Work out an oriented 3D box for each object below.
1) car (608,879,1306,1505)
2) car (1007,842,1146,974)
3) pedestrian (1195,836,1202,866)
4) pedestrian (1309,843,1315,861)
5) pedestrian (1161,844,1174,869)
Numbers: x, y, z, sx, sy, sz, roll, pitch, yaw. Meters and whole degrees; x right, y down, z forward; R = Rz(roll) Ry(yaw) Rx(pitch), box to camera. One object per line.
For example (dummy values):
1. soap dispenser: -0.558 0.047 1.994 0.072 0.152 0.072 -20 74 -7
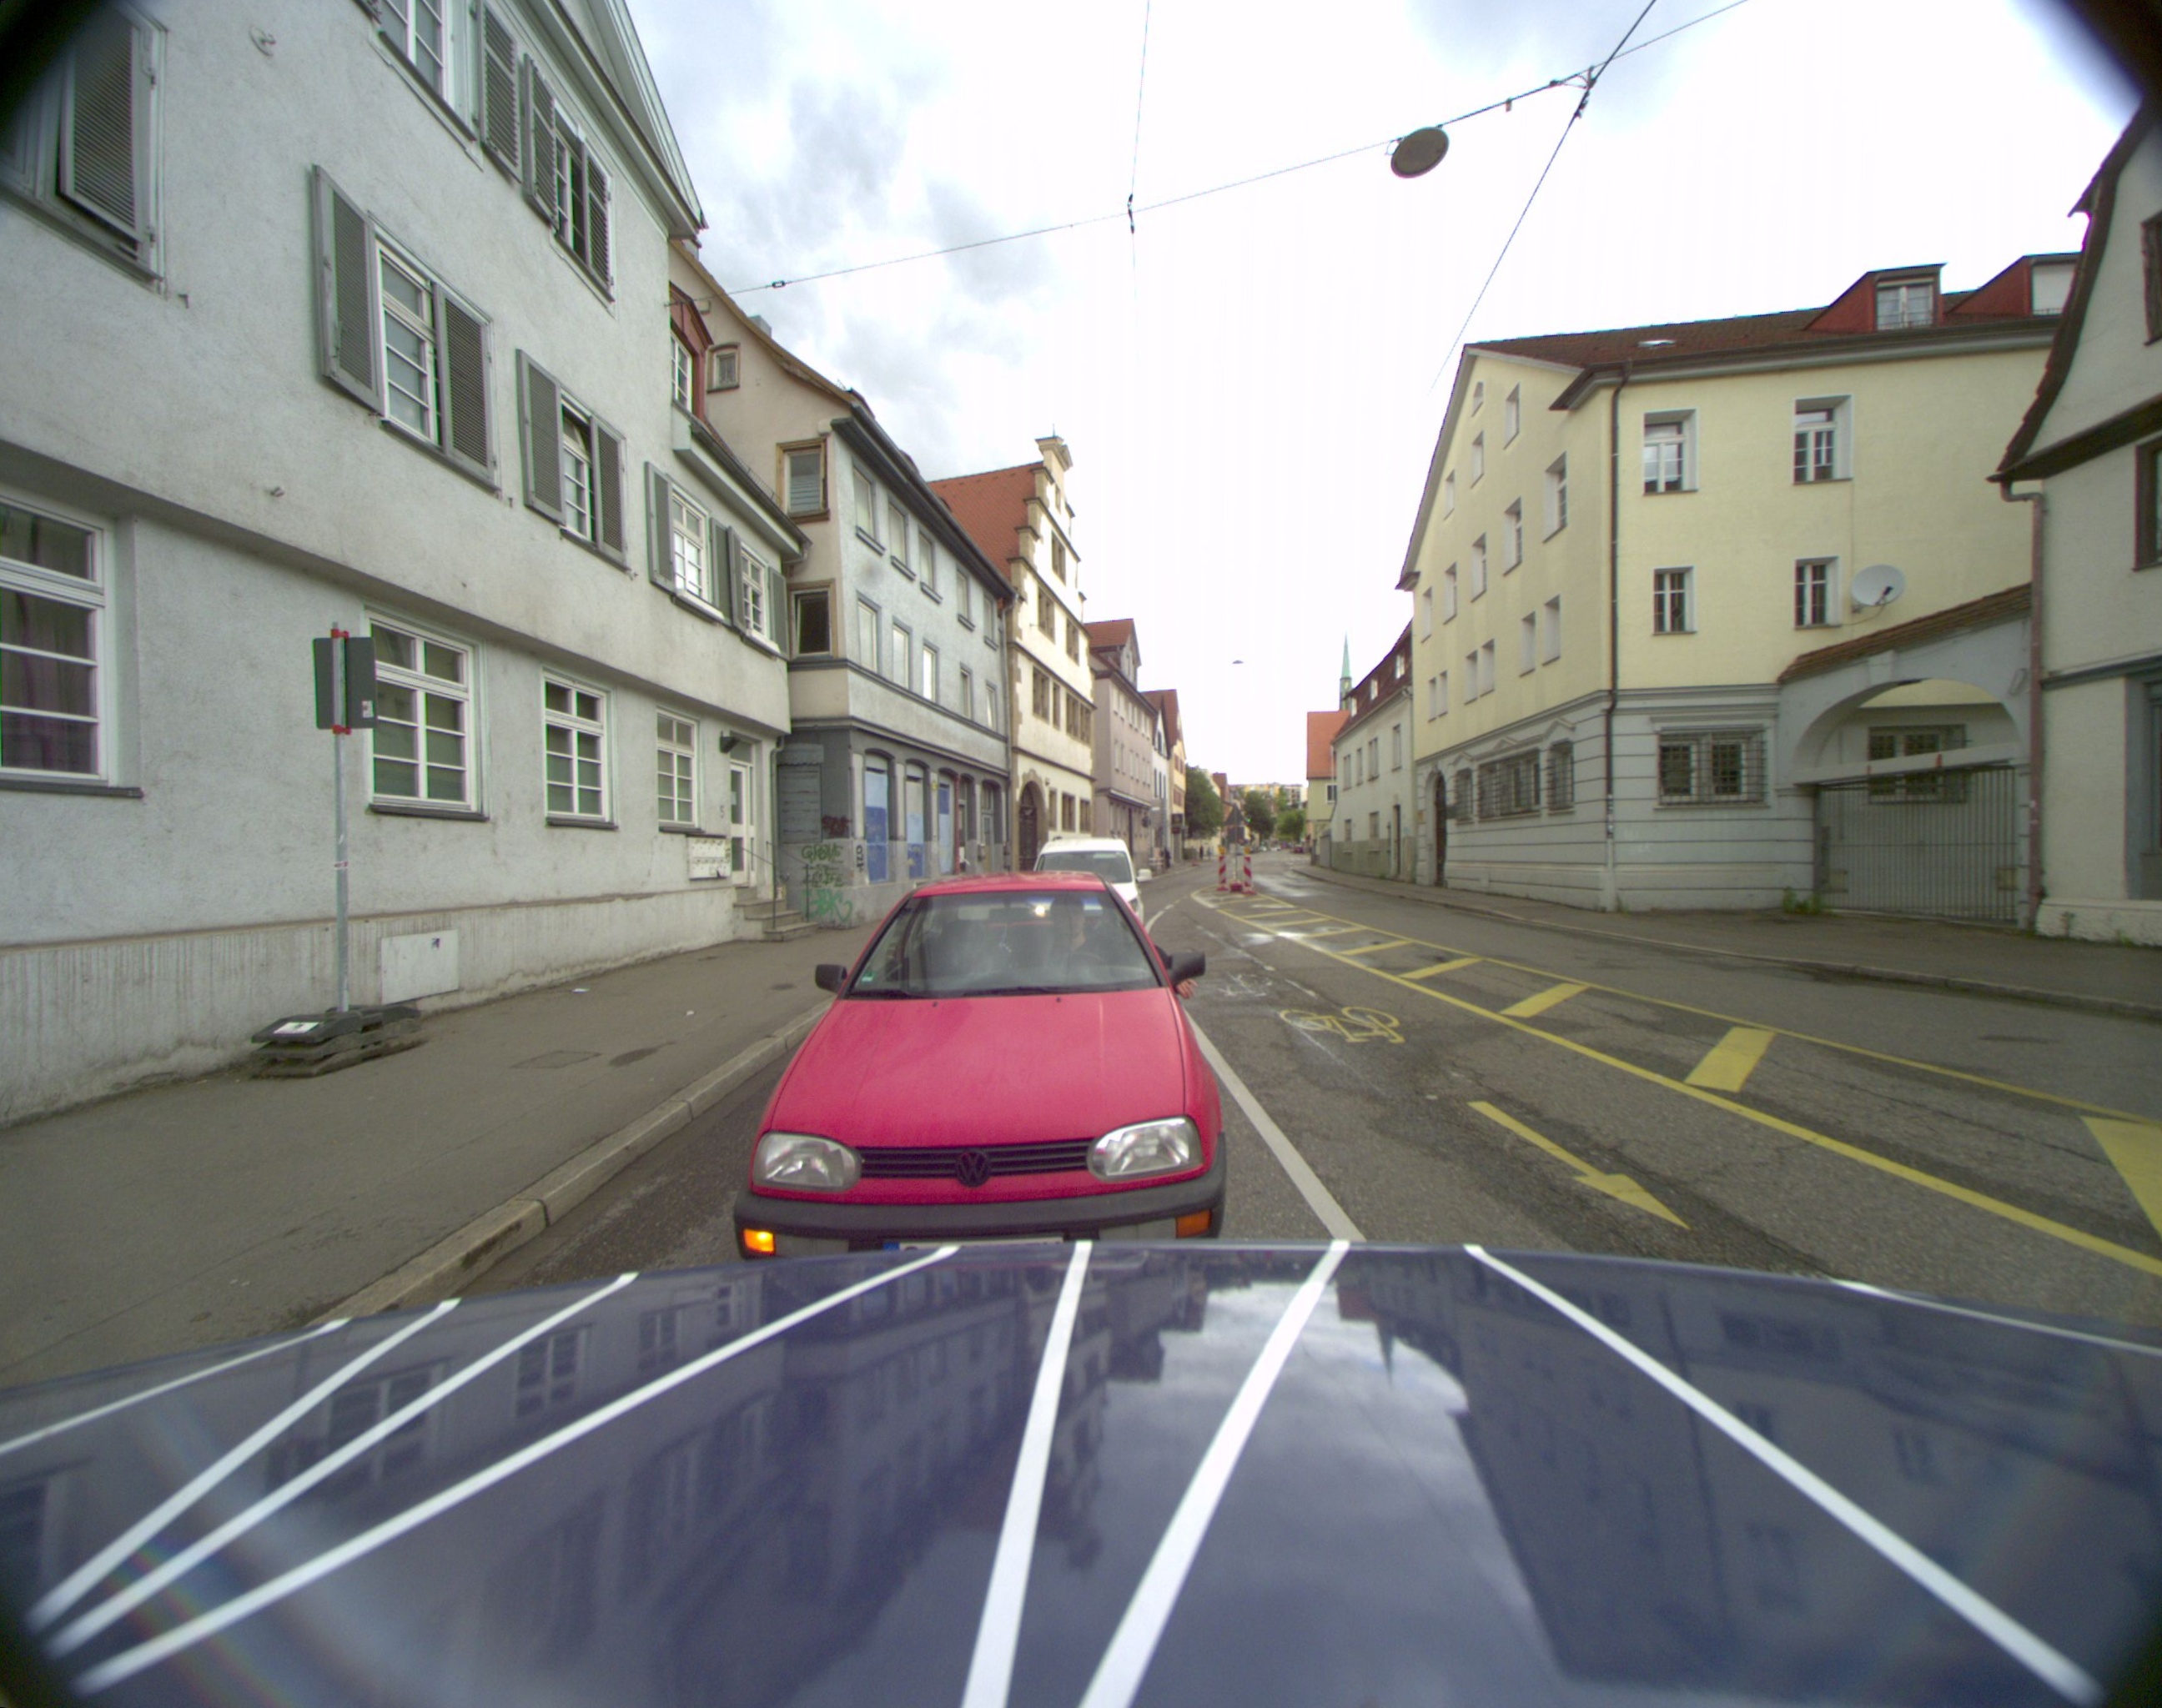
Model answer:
1. car: -0.351 0.953 3.998 1.793 1.417 3.998 -1 1 -1
2. car: 0.030 0.690 12.166 1.814 1.695 4.256 -1 1 2
3. pedestrian: 9.872 -0.226 63.903 0.495 2.513 0.746 -1 1 12
4. pedestrian: 22.592 -0.221 74.324 0.592 1.769 0.505 0 1 16
5. pedestrian: 5.662 0.169 49.844 0.724 1.604 0.649 -1 0 17
